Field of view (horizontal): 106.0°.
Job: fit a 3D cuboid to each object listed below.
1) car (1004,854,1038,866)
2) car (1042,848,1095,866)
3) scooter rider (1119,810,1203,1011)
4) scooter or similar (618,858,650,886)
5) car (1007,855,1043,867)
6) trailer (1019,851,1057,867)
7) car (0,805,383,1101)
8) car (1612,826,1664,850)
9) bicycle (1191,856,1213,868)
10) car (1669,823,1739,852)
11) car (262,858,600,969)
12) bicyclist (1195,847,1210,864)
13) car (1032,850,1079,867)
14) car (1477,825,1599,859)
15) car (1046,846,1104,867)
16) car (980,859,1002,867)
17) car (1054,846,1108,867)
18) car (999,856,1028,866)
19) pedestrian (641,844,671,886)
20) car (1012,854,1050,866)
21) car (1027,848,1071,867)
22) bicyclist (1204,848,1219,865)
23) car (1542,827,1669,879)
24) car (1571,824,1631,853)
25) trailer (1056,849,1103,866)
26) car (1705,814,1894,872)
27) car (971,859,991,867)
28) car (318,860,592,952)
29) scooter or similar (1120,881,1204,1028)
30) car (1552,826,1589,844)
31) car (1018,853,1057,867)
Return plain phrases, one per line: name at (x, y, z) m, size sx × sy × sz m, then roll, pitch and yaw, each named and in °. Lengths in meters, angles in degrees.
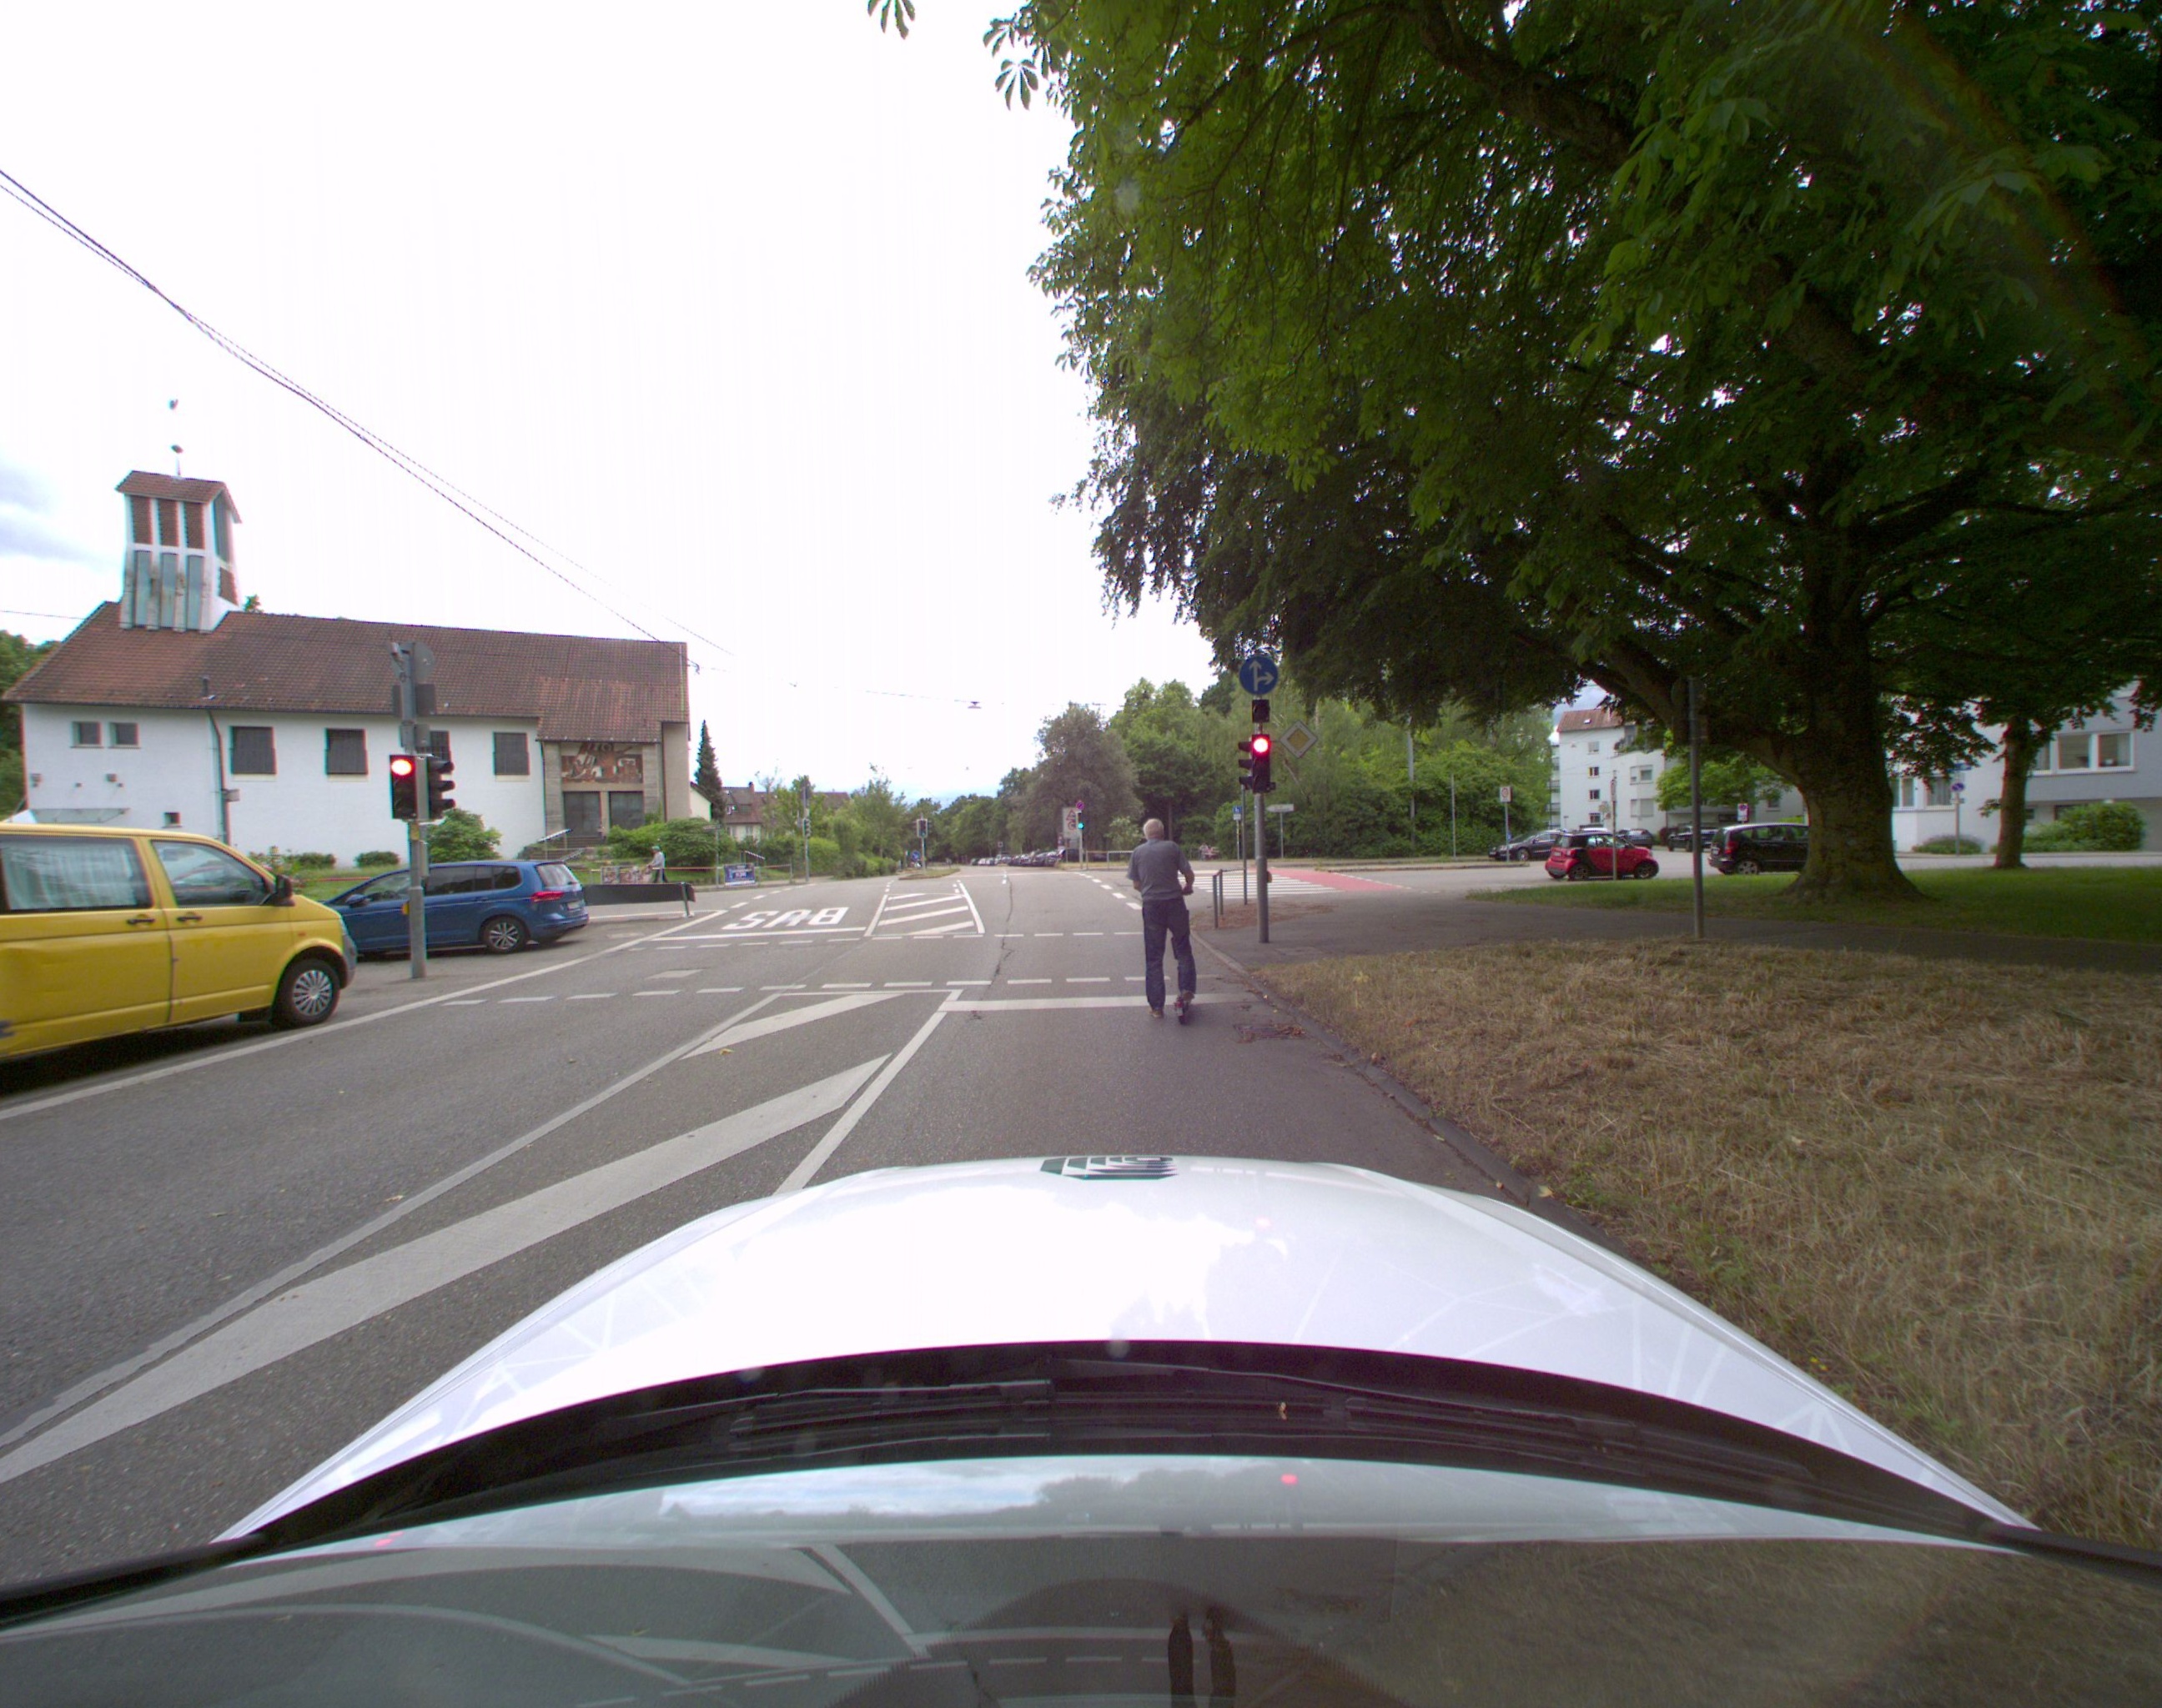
car at (-7.949, 0.805, 107.564) m, size 4.099 × 1.515 × 1.716 m, roll -2°, pitch -1°, yaw -32°
car at (-1.099, 0.279, 70.332) m, size 4.231 × 1.464 × 1.625 m, roll -2°, pitch -1°, yaw -19°
scooter rider at (0.763, 0.478, 7.652) m, size 0.678 × 1.730 × 1.199 m, roll -1°, pitch 1°, yaw 6°
scooter or similar at (-17.440, 0.690, 31.767) m, size 0.604 × 1.095 × 0.895 m, roll -1°, pitch -1°, yaw 29°
car at (-7.228, 0.873, 104.848) m, size 4.332 × 1.341 × 1.720 m, roll -1°, pitch -1°, yaw -24°
trailer at (-4.580, 0.535, 87.066) m, size 3.702 × 1.535 × 1.634 m, roll -1°, pitch -1°, yaw -21°
car at (-8.338, 0.698, 6.334) m, size 1.913 × 1.989 × 4.791 m, roll -2°, pitch 0°, yaw -5°
car at (38.964, -1.108, 57.086) m, size 1.913 × 1.544 × 4.083 m, roll -1°, pitch 0°, yaw 18°
bicycle at (8.306, 0.572, 55.836) m, size 1.691 × 0.758 × 0.634 m, roll -2°, pitch 3°, yaw -45°
car at (35.822, -0.931, 46.963) m, size 1.913 × 1.544 × 4.083 m, roll -1°, pitch 0°, yaw 18°
car at (-11.143, 0.955, 14.323) m, size 4.169 × 1.546 × 1.838 m, roll -2°, pitch 1°, yaw -13°
bicyclist at (8.321, 0.104, 55.833) m, size 0.808 × 1.161 × 0.634 m, roll -1°, pitch 3°, yaw -44°
car at (-2.400, 0.439, 77.046) m, size 4.174 × 1.407 × 1.686 m, roll -1°, pitch -1°, yaw -21°
car at (21.767, -0.567, 38.895) m, size 4.777 × 1.438 × 2.036 m, roll -2°, pitch 1°, yaw -5°
car at (-0.445, 0.193, 62.610) m, size 4.150 × 1.476 × 1.565 m, roll -1°, pitch -1°, yaw -20°
car at (-17.722, 1.731, 159.532) m, size 3.913 × 1.309 × 1.725 m, roll -1°, pitch -1°, yaw -34°
car at (-0.003, 0.176, 60.053) m, size 3.718 × 1.476 × 1.570 m, roll -1°, pitch 0°, yaw -12°
car at (-10.159, 1.065, 122.598) m, size 3.984 × 1.405 × 1.742 m, roll -1°, pitch -1°, yaw -25°
pedestrian at (-16.992, 0.421, 32.555) m, size 0.680 × 1.653 × 0.836 m, roll -1°, pitch -1°, yaw 29°
car at (-6.091, 0.738, 99.526) m, size 4.364 × 1.445 × 1.621 m, roll -1°, pitch 0°, yaw -24°
car at (-3.106, 0.320, 79.643) m, size 3.998 × 1.725 × 1.670 m, roll -2°, pitch -1°, yaw -19°
bicyclist at (9.184, 0.179, 57.176) m, size 0.973 × 1.187 × 0.513 m, roll -1°, pitch -2°, yaw -44°
car at (16.238, -0.058, 25.327) m, size 2.897 × 1.506 × 1.699 m, roll -1°, pitch 2°, yaw 5°
car at (28.517, -0.856, 44.779) m, size 1.788 × 1.487 × 3.686 m, roll -1°, pitch 0°, yaw 16°
trailer at (-0.137, 0.302, 65.546) m, size 3.412 × 1.267 × 1.606 m, roll -2°, pitch -1°, yaw -19°
car at (20.820, -0.291, 23.807) m, size 3.778 × 1.591 × 1.829 m, roll -1°, pitch 0°, yaw 26°
car at (-21.799, 1.959, 177.387) m, size 3.908 × 1.429 × 1.727 m, roll -1°, pitch -1°, yaw -30°
car at (-12.355, 0.971, 16.401) m, size 3.903 × 1.472 × 1.834 m, roll -2°, pitch 1°, yaw -18°
scooter or similar at (0.763, 0.874, 7.581) m, size 0.678 × 1.139 × 1.463 m, roll -1°, pitch 1°, yaw 7°
car at (44.282, -1.701, 73.723) m, size 1.913 × 1.544 × 4.083 m, roll -1°, pitch 0°, yaw 18°
car at (-4.762, 0.653, 89.296) m, size 4.049 × 1.327 × 1.549 m, roll -2°, pitch -1°, yaw -19°
